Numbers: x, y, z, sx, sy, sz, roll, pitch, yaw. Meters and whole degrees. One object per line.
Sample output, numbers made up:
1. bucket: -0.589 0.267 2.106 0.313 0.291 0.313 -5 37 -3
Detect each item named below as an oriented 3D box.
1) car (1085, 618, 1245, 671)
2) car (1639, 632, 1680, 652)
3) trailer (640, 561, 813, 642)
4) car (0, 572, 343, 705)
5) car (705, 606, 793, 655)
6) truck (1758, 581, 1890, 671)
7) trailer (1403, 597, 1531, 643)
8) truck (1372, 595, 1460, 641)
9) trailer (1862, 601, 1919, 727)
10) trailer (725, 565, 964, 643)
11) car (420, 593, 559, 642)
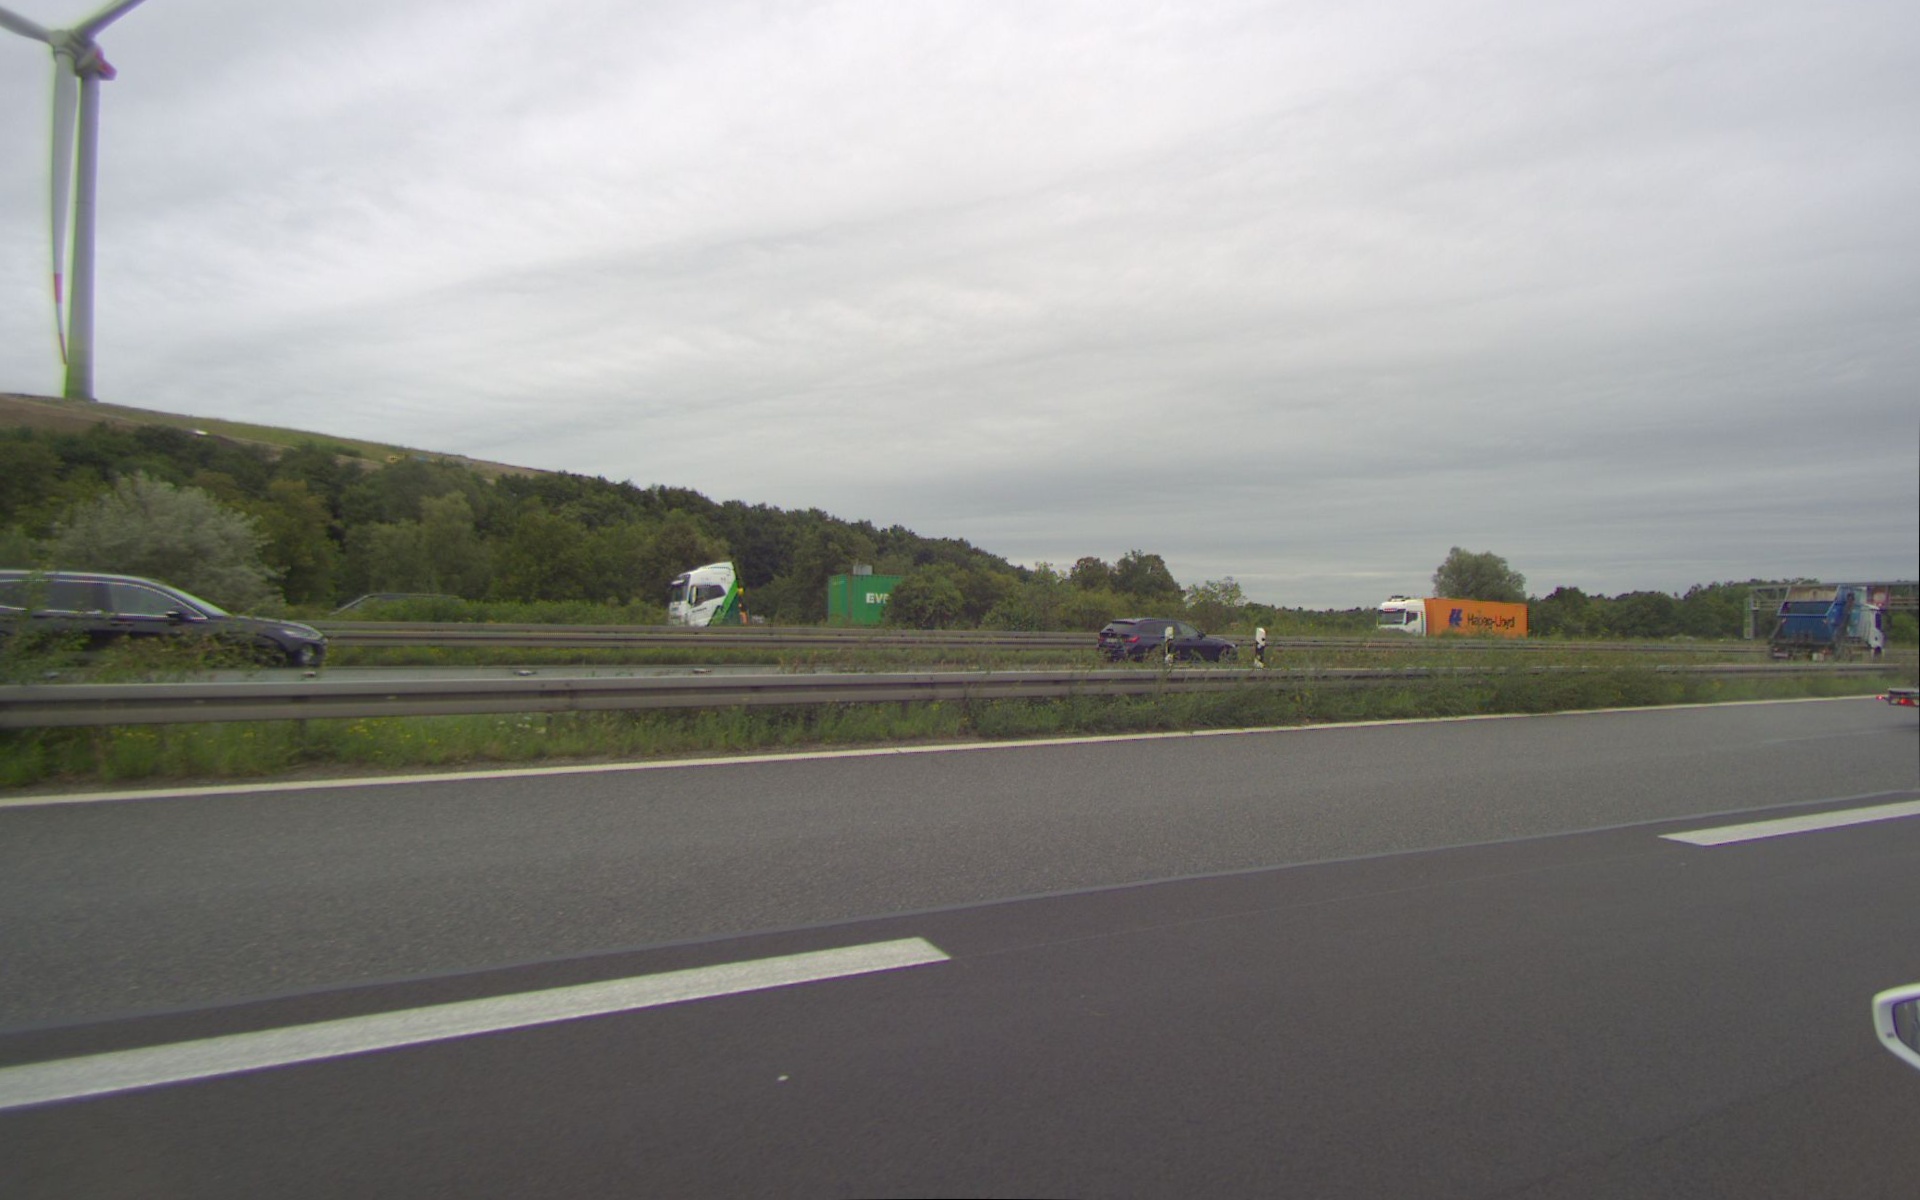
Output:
1. car: 6.104 1.324 29.701 4.723 1.410 1.793 3 0 -33
2. car: 70.549 4.271 101.327 3.956 1.934 2.011 2 0 -32
3. trailer: -10.766 0.125 46.527 7.193 3.448 2.943 2 -1 -33
4. car: -11.394 0.517 13.942 4.754 1.648 1.872 3 0 -32
5. car: -10.808 1.554 51.445 3.956 2.408 2.011 2 0 -32
6. truck: 39.659 1.229 46.035 7.266 3.863 2.622 3 0 -33
7. trailer: 39.290 1.574 77.594 12.425 3.114 2.671 3 0 -31
8. truck: 33.678 1.313 74.117 6.382 3.114 2.671 3 0 -31
9. trailer: 18.804 1.158 17.653 6.983 2.021 2.472 2 0 -31
10. trailer: -5.516 0.318 49.936 11.675 3.448 2.942 2 -1 -33
11. car: -17.520 0.665 37.459 4.502 1.659 1.951 3 0 -31
